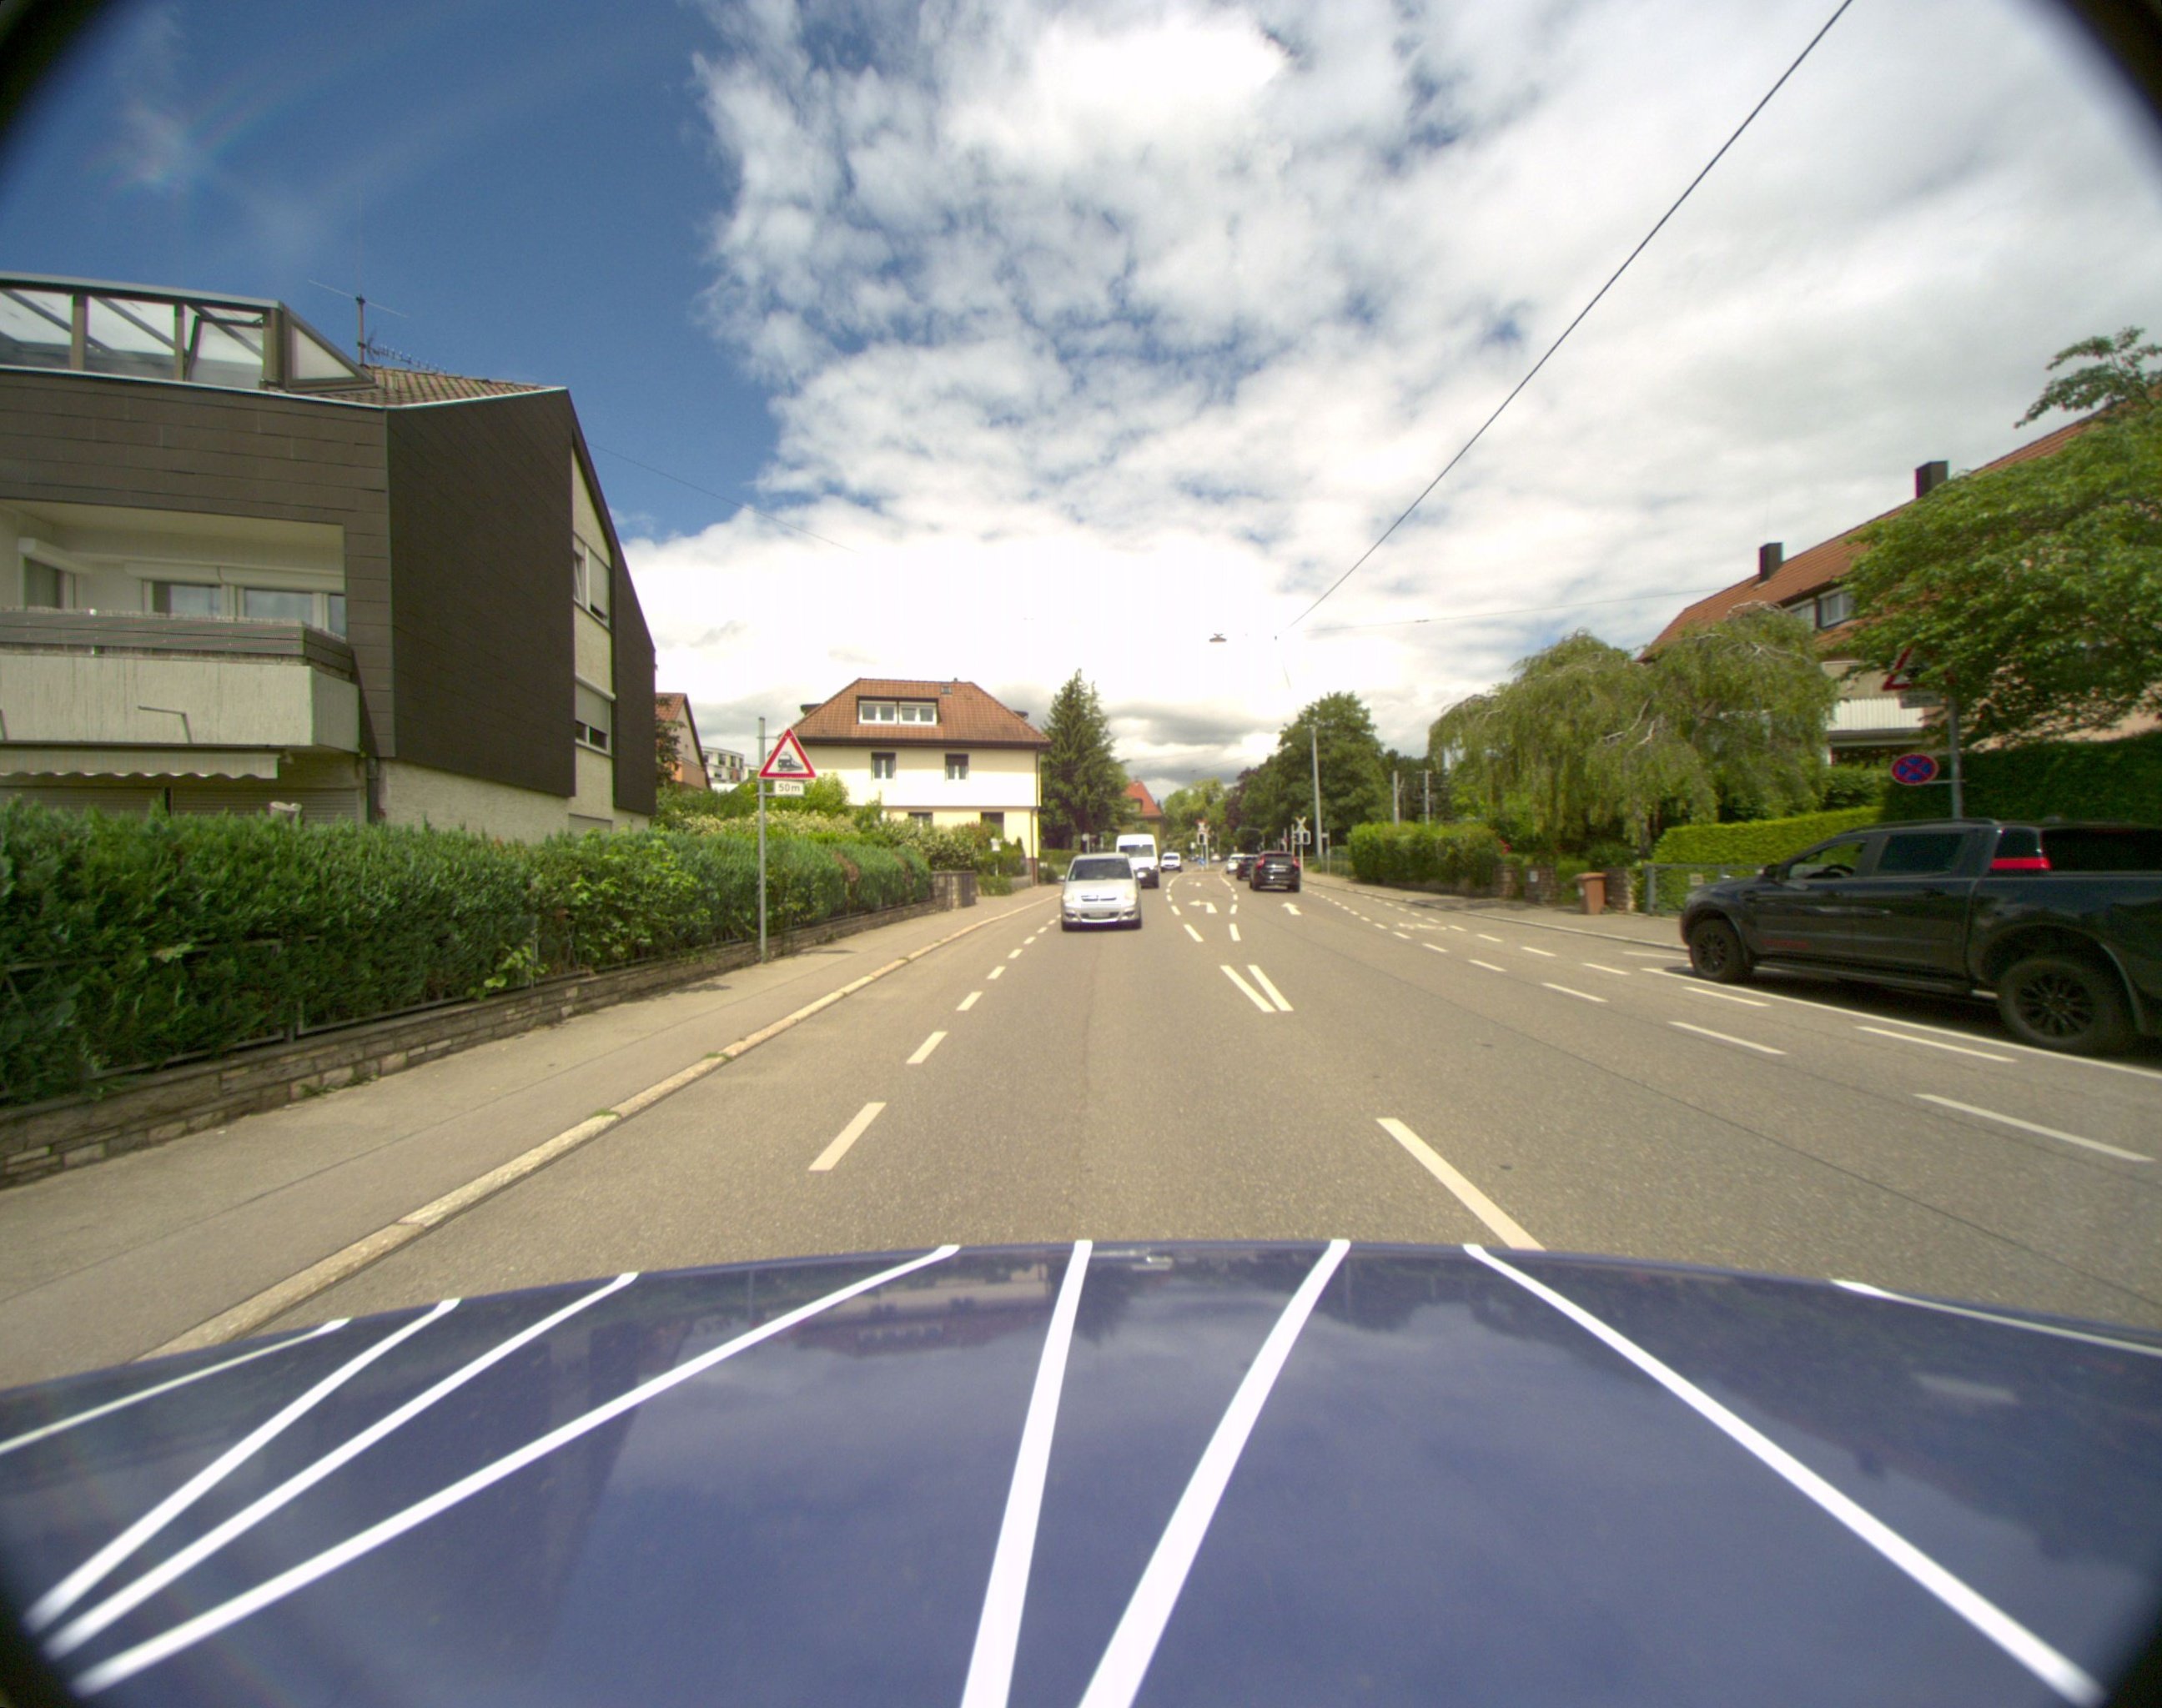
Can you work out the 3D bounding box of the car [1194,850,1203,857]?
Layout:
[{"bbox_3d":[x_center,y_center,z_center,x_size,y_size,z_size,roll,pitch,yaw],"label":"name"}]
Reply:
[{"bbox_3d":[28.228,-0.124,181.926,1.931,1.412,4.003,-2,0,11],"label":"car"}]

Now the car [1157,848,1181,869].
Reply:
[{"bbox_3d":[8.051,0.346,69.122,1.932,1.771,4.002,-2,0,9],"label":"car"}]

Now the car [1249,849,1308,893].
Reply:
[{"bbox_3d":[8.253,0.667,32.091,1.919,1.639,4.296,3,1,9],"label":"car"}]

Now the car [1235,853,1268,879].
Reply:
[{"bbox_3d":[10.071,0.672,45.044,1.700,1.448,4.118,0,1,10],"label":"car"}]

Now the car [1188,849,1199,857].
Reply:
[{"bbox_3d":[22.013,-0.124,148.383,1.997,1.419,4.003,-3,1,11],"label":"car"}]

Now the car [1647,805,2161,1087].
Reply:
[{"bbox_3d":[8.275,0.621,7.094,1.998,1.884,5.403,1,0,1],"label":"car"}]

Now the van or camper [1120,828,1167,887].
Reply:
[{"bbox_3d":[3.088,0.192,37.099,2.029,2.564,5.925,-3,-1,5],"label":"van or camper"}]

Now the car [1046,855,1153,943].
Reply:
[{"bbox_3d":[0.547,0.851,16.308,1.707,1.531,4.333,-2,0,9],"label":"car"}]

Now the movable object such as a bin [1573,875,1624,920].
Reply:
[{"bbox_3d":[11.460,0.952,16.855,0.678,0.939,0.645,-3,1,4],"label":"movable object such as a bin"}]

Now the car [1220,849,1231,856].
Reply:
[{"bbox_3d":[28.727,-0.322,151.220,1.931,1.412,4.003,-2,0,11],"label":"car"}]

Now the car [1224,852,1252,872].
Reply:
[{"bbox_3d":[12.002,0.562,58.232,1.879,1.467,4.445,0,0,9],"label":"car"}]

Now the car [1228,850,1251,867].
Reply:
[{"bbox_3d":[14.907,0.404,71.449,1.850,1.565,4.162,-2,0,9],"label":"car"}]

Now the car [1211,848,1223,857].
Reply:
[{"bbox_3d":[23.712,-0.331,132.660,1.931,1.412,4.003,-2,0,11],"label":"car"}]
